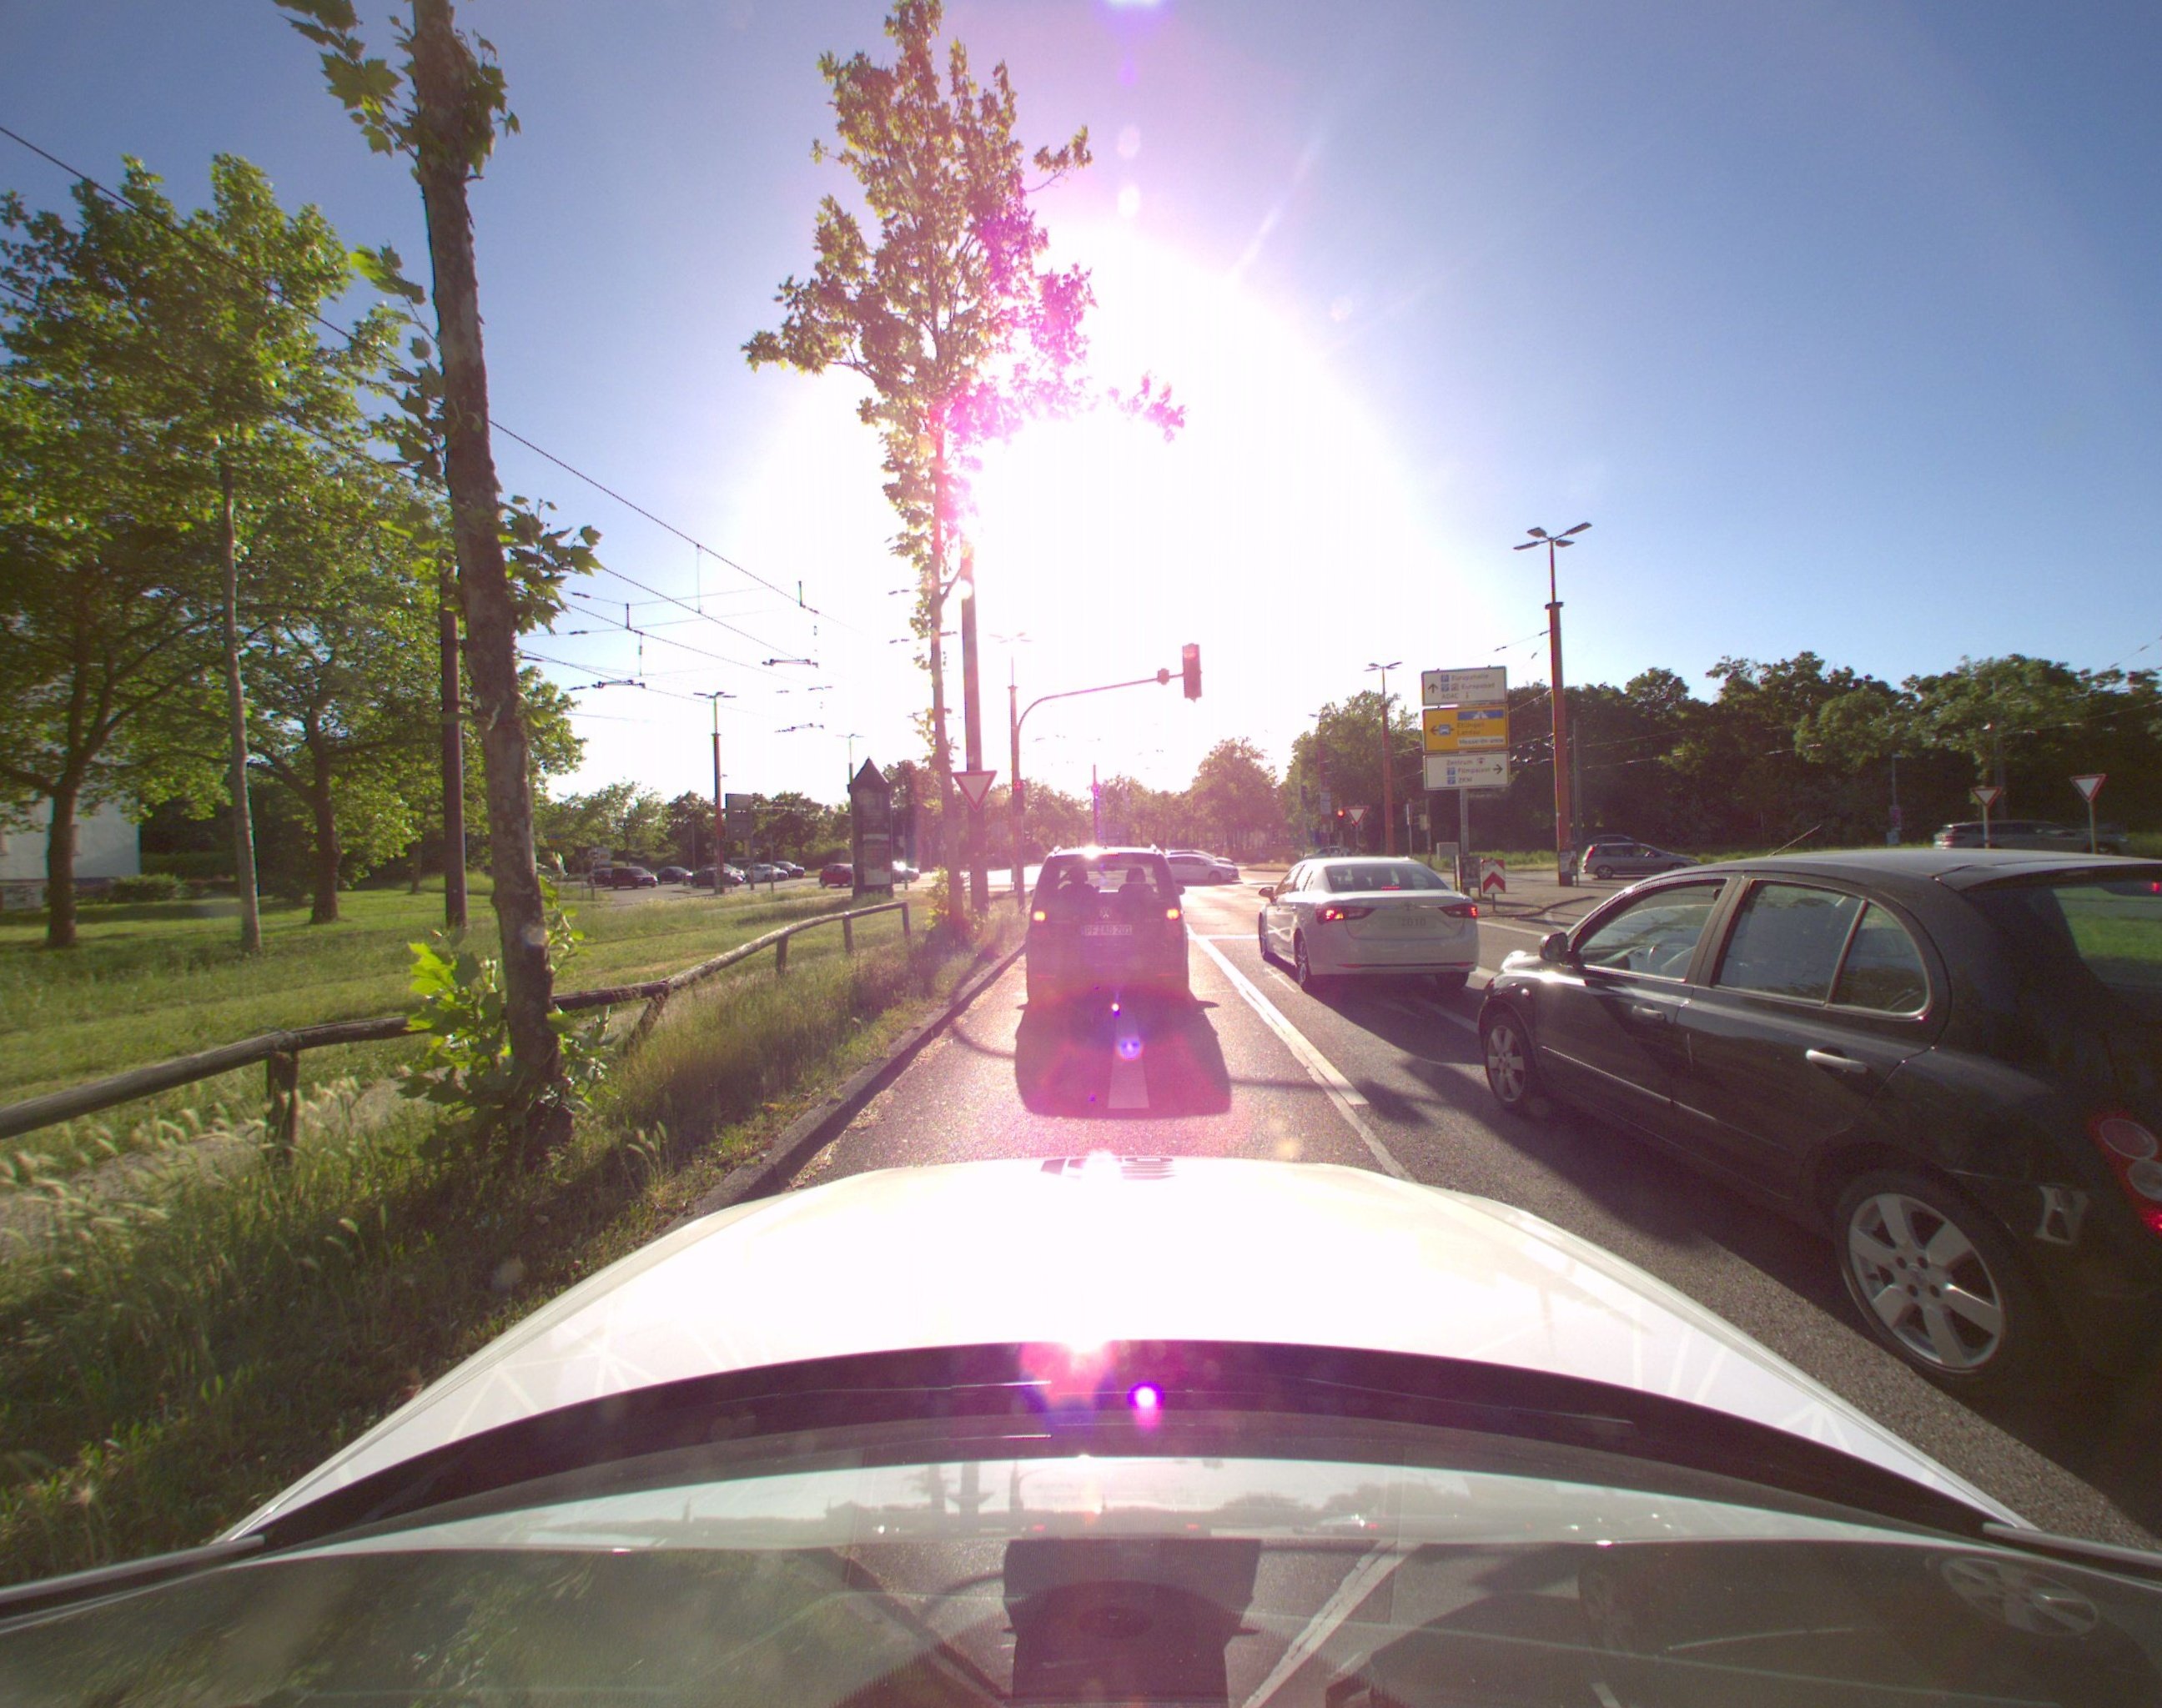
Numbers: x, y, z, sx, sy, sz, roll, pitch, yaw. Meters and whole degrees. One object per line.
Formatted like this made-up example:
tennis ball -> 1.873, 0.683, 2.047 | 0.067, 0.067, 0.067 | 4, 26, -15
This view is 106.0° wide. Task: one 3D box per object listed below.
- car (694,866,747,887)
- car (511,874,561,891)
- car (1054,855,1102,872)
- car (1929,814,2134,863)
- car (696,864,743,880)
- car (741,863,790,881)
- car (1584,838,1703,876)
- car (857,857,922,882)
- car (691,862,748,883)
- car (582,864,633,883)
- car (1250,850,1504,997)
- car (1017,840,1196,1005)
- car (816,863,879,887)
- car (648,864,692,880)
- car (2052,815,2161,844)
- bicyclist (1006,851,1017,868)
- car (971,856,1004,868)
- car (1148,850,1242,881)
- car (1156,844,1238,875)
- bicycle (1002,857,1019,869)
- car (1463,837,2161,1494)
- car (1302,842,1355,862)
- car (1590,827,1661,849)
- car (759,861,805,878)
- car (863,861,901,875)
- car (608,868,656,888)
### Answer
car -> -27.633, 1.702, 62.369 | 4.145, 1.520, 1.667 | -1, 0, 32
car -> -49.606, 2.577, 74.097 | 4.787, 1.520, 1.958 | -1, 0, 32
car -> -0.296, 0.867, 75.598 | 4.098, 1.510, 1.666 | -1, 0, 24
car -> 34.479, -0.535, 29.747 | 4.583, 1.647, 1.667 | -1, 0, 32
car -> -32.025, 1.589, 72.106 | 4.102, 1.415, 1.553 | -1, 0, 28
car -> -26.841, 1.519, 69.193 | 4.102, 1.415, 1.553 | -1, 0, 28
car -> 22.606, 0.123, 32.898 | 3.793, 1.441, 1.667 | -1, 0, 29
car -> -13.647, 1.103, 58.004 | 4.583, 1.647, 1.767 | -1, 0, 32
car -> -29.930, 1.530, 67.482 | 4.585, 1.647, 1.767 | -1, 0, 26
car -> -43.526, 1.793, 74.890 | 4.585, 1.647, 1.767 | -1, 0, 26
car -> 3.365, 0.705, 10.195 | 1.792, 1.440, 4.329 | 0, -1, 3
car -> 0.358, 0.685, 10.090 | 1.731, 1.602, 4.329 | 0, -1, 3
car -> -15.742, 1.379, 54.768 | 4.146, 1.520, 1.667 | -1, 0, 31
car -> -38.205, 1.663, 75.713 | 4.102, 1.415, 1.553 | -1, 0, 28
car -> 54.021, -1.278, 42.625 | 3.758, 1.403, 1.665 | -1, 0, 22
bicyclist -> -8.096, 0.650, 95.114 | 0.969, 1.904, 1.055 | -2, 0, 14
car -> -11.688, 1.029, 102.360 | 1.636, 1.457, 3.950 | -1, 0, 43
car -> 5.933, 0.600, 42.531 | 4.578, 1.520, 1.667 | -1, 0, 28
car -> 6.600, 0.337, 46.422 | 4.285, 1.692, 1.667 | -1, 0, 34
bicycle -> -8.182, 1.039, 94.745 | 0.969, 1.388, 2.991 | -2, 0, 15
car -> 3.172, 0.691, 3.497 | 1.570, 1.440, 3.443 | 0, -1, 2
car -> 19.778, -0.145, 65.158 | 3.755, 1.510, 1.667 | -1, 0, 30
car -> 36.945, -1.064, 55.368 | 3.758, 1.403, 1.665 | -1, 0, 22
car -> -26.738, 1.377, 72.818 | 4.102, 1.415, 1.553 | -1, 0, 28
car -> -21.621, 1.542, 88.322 | 3.877, 1.457, 1.667 | -1, 0, 28
car -> -37.322, 1.985, 67.622 | 4.145, 1.520, 1.667 | -1, 0, 32
